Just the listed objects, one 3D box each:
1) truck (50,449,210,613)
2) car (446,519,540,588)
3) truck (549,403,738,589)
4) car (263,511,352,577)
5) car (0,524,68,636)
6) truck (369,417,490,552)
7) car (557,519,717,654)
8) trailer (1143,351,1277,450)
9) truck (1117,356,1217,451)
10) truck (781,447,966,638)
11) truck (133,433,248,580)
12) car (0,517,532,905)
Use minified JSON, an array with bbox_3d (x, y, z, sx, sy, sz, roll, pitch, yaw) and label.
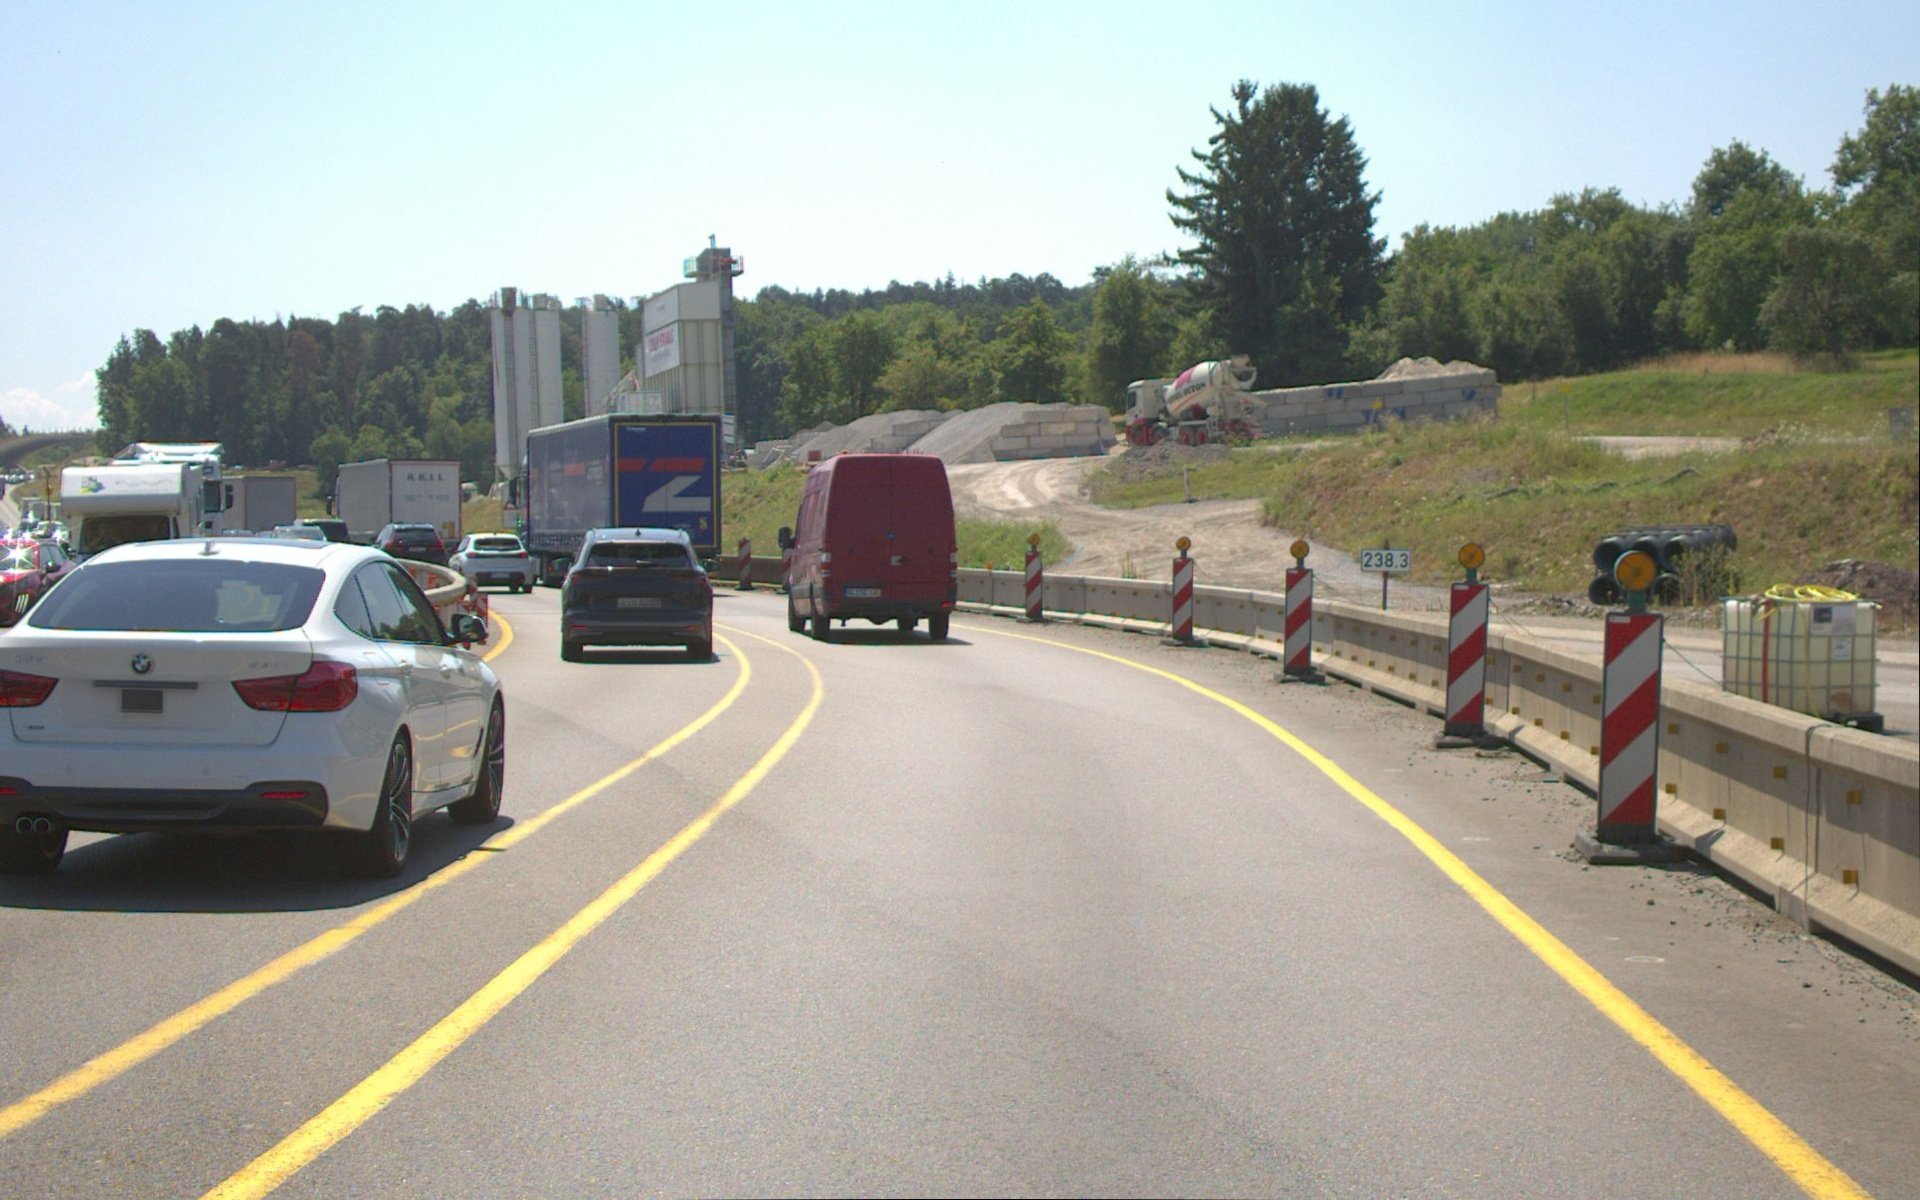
[{"bbox_3d":[-16.604,-1.410,69.151,2.441,3.061,7.250,-2,2,-9],"label":"truck"},{"bbox_3d":[-11.279,-1.149,82.835,1.801,1.574,4.001,-2,2,-14],"label":"car"},{"bbox_3d":[-7.620,-2.445,81.691,3.014,4.138,8.275,-2,2,-15],"label":"truck"},{"bbox_3d":[-16.454,-1.437,86.843,1.660,1.600,4.397,-1,2,-4],"label":"car"},{"bbox_3d":[-14.856,-0.326,52.837,1.719,1.622,4.337,-2,2,-8],"label":"car"},{"bbox_3d":[-19.498,-4.197,125.811,3.682,4.675,9.756,-2,2,-12],"label":"truck"},{"bbox_3d":[-3.939,-0.201,42.461,1.795,1.529,3.932,-1,2,-3],"label":"car"},{"bbox_3d":[10.930,-8.720,150.963,2.756,4.100,6.747,-2,2,-26],"label":"trailer"},{"bbox_3d":[9.291,-8.790,154.358,2.744,4.081,4.101,-2,2,-26],"label":"truck"},{"bbox_3d":[-1.373,-0.896,51.292,2.111,2.624,6.486,-1,2,-7],"label":"truck"},{"bbox_3d":[-22.108,-2.699,99.019,2.701,4.048,5.502,-2,2,-8],"label":"truck"},{"bbox_3d":[-3.326,0.393,16.589,1.795,1.529,5.073,1,2,1],"label":"car"}]
